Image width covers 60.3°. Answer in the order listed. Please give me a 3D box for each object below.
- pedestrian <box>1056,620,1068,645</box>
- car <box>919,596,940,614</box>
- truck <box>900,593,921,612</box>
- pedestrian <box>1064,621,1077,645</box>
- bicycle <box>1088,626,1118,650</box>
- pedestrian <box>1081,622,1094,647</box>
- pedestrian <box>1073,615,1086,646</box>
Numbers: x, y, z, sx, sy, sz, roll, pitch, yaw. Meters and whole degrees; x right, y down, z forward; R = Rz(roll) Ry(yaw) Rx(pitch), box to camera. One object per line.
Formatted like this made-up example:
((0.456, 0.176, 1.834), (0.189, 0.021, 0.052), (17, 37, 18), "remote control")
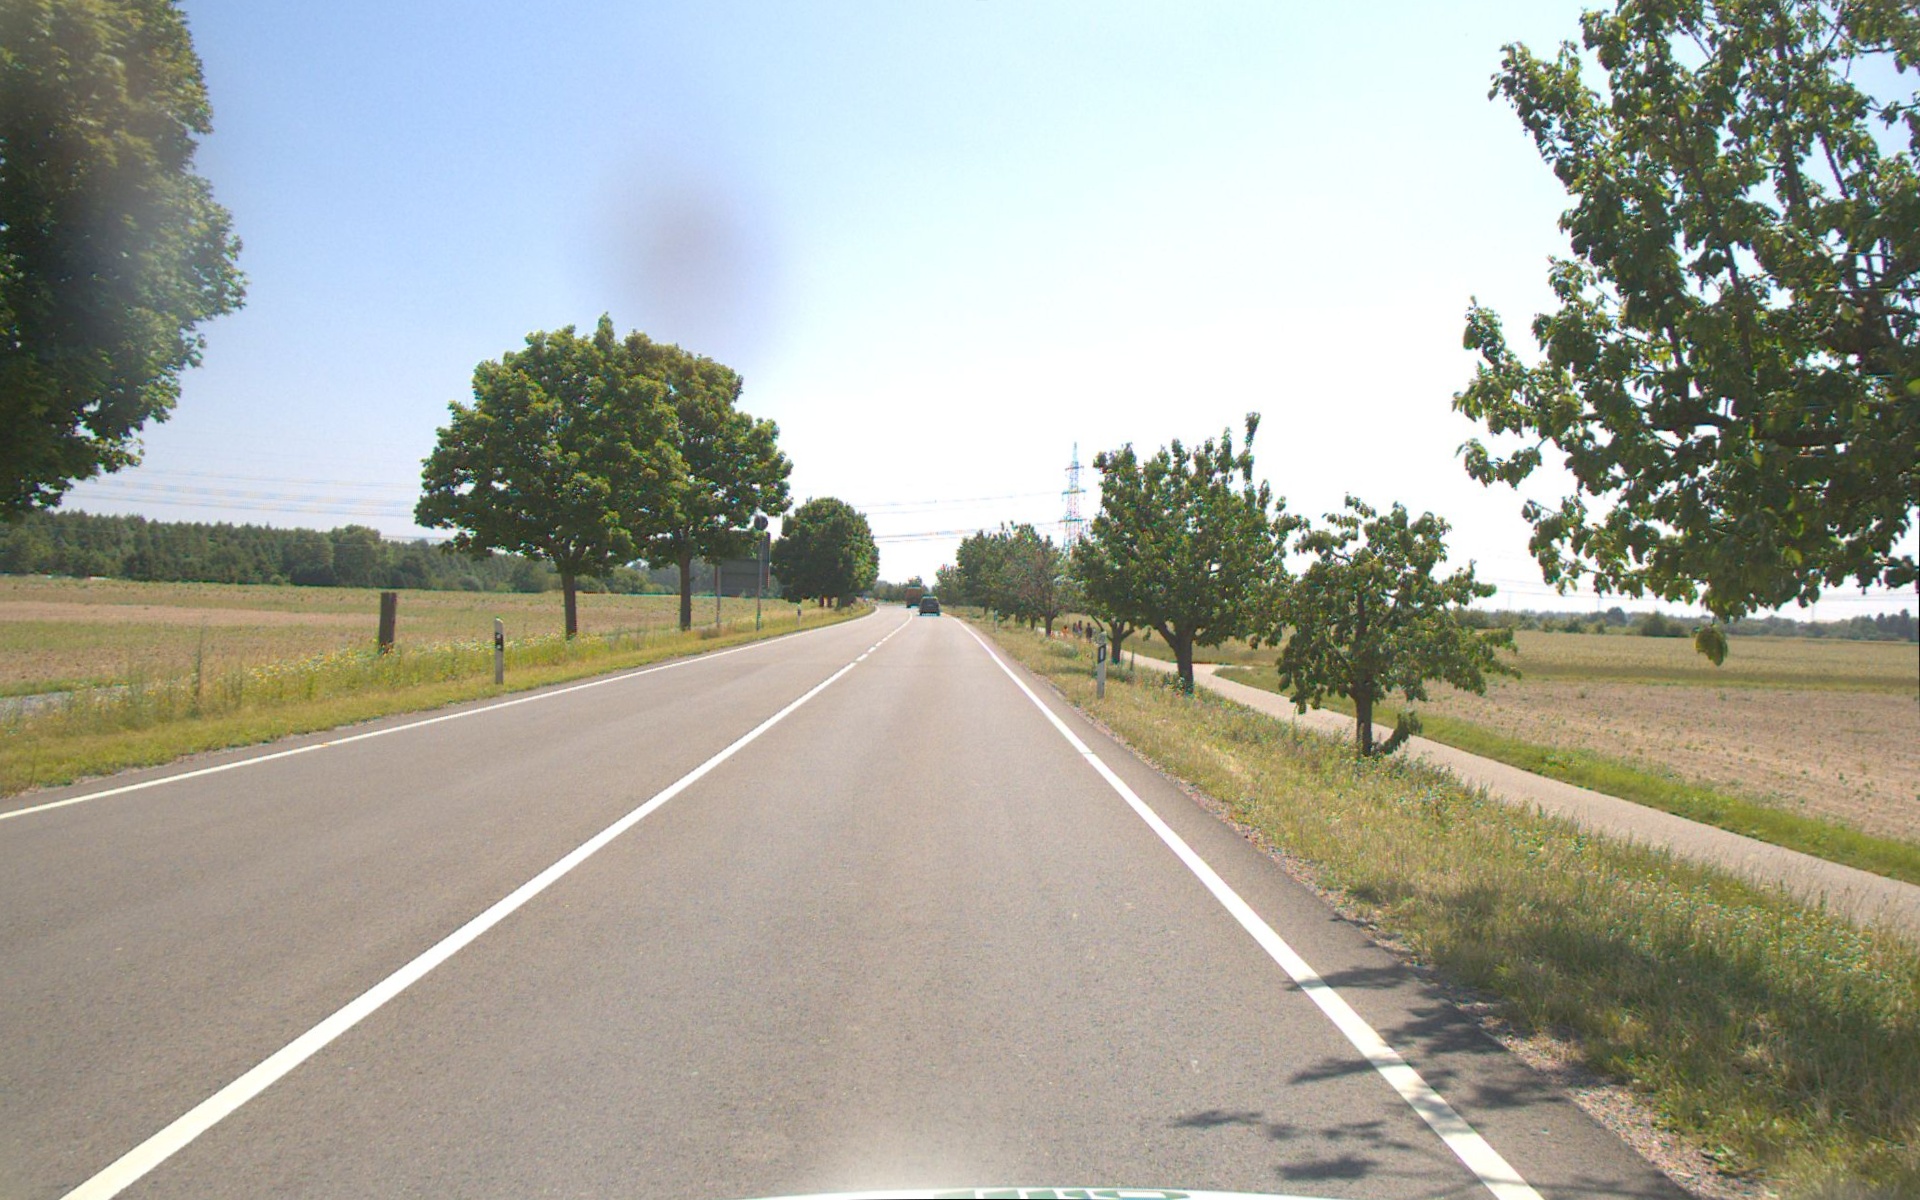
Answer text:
((5.961, 1.894, 96.665), (0.544, 1.394, 0.603), (4, 0, -9), "pedestrian")
((-2.815, 0.461, 151.915), (1.847, 1.544, 4.039), (4, 0, -1), "car")
((-7.816, 0.345, 262.389), (3.108, 2.911, 9.511), (1, 0, -1), "truck")
((6.486, 1.930, 97.125), (0.544, 1.394, 0.603), (4, 0, -9), "pedestrian")
((8.074, 2.117, 93.319), (1.195, 1.185, 2.433), (4, 0, -5), "bicycle")
((7.476, 2.003, 96.807), (0.544, 1.394, 0.603), (4, 0, -9), "pedestrian")
((7.044, 1.793, 97.585), (0.544, 1.750, 0.603), (4, 0, -9), "pedestrian")
